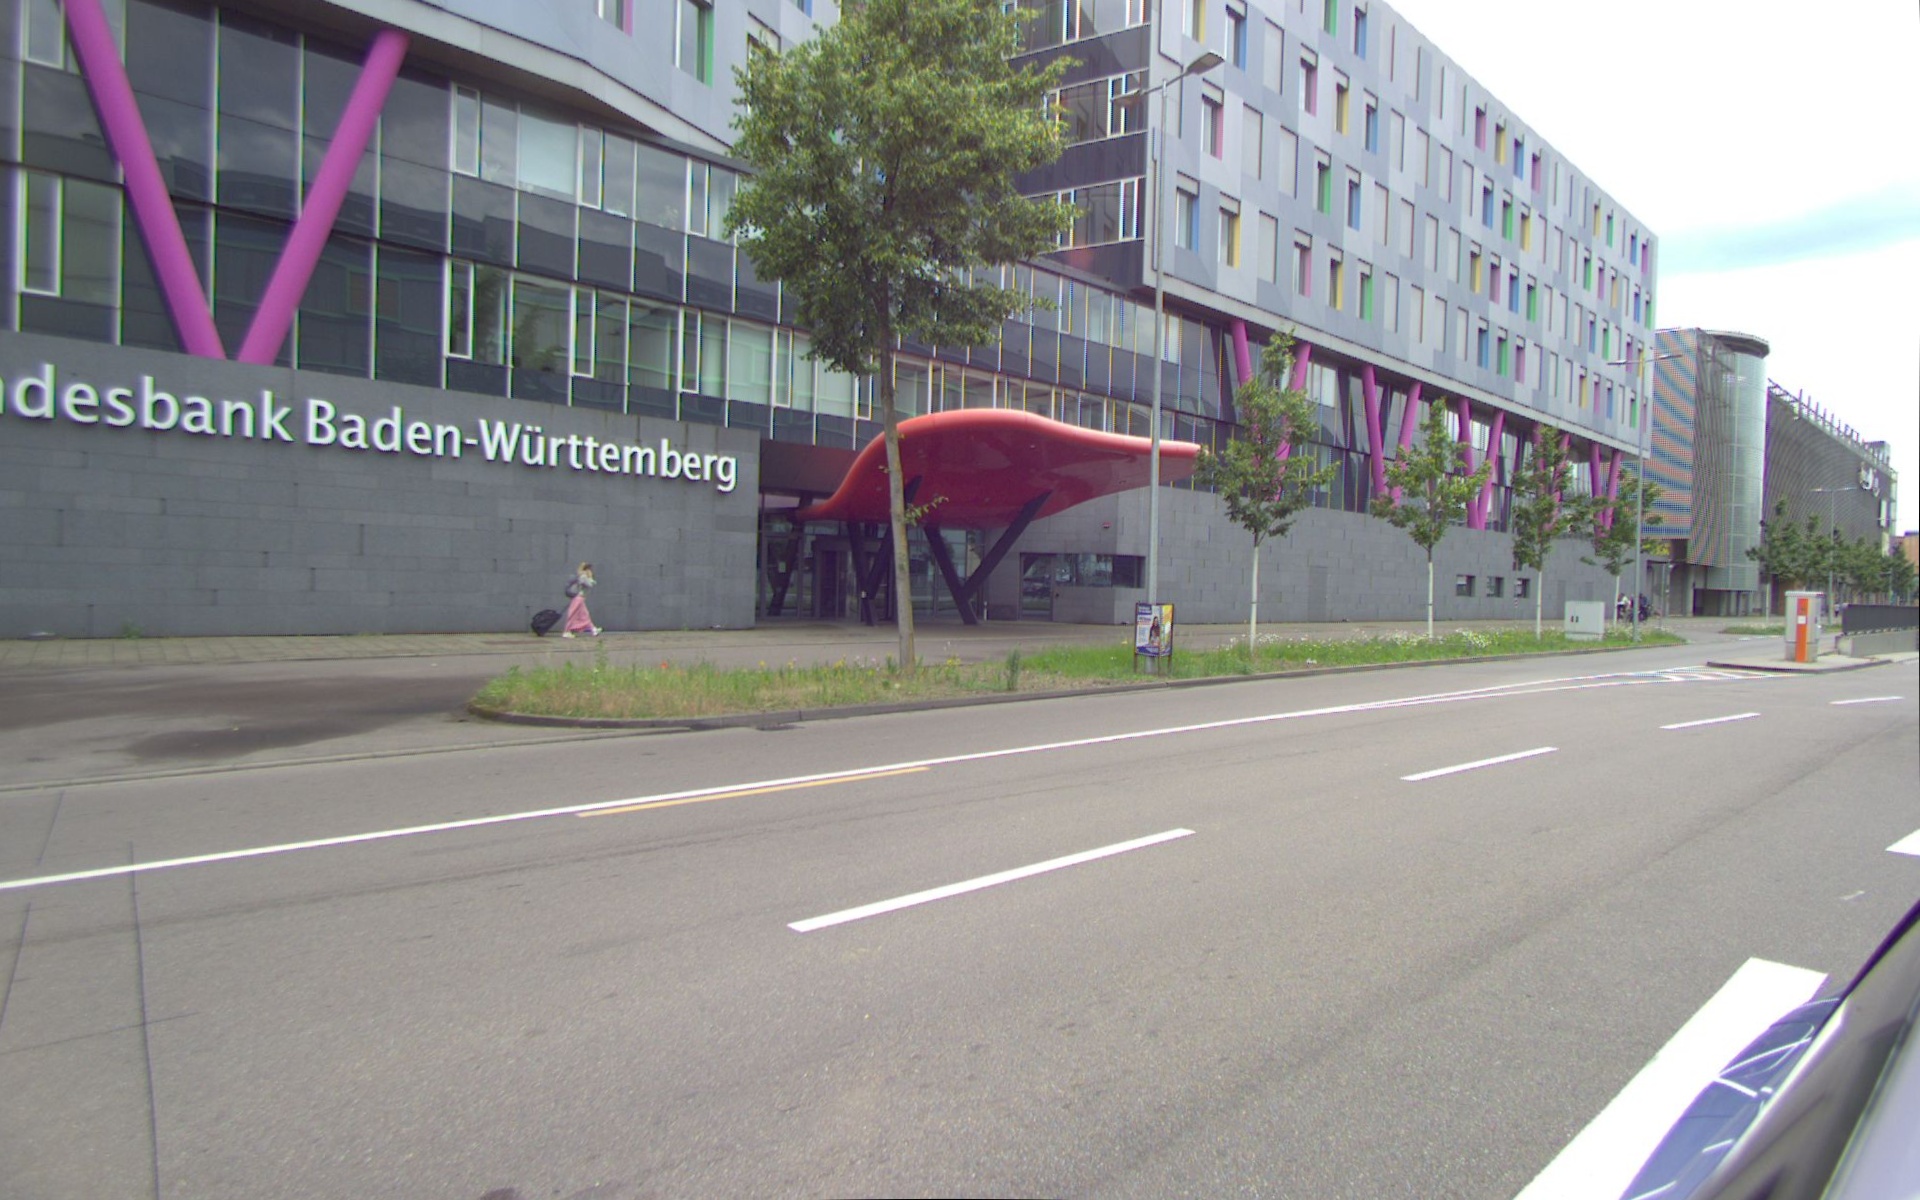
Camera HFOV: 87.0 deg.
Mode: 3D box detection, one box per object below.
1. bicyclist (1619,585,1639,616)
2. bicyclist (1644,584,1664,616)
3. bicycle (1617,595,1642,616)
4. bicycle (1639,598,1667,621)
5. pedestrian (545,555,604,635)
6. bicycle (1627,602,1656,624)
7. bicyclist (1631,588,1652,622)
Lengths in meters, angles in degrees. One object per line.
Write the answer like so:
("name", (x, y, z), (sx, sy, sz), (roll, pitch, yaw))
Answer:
("bicyclist", (40.639, 0.032, 61.463), (0.957, 1.809, 0.771), (1, 1, -43))
("bicyclist", (40.756, -0.001, 59.445), (0.692, 1.826, 0.783), (6, -4, -41))
("bicycle", (40.788, 0.340, 61.614), (2.183, 1.209, 0.784), (1, 1, -44))
("bicycle", (40.694, 0.545, 59.388), (2.303, 1.173, 0.800), (6, -3, -42))
("pedestrian", (-7.983, -0.106, 20.963), (0.898, 1.602, 0.786), (1, 1, -40))
("bicycle", (37.546, 0.740, 55.730), (2.304, 1.173, 0.800), (2, 0, -42))
("bicyclist", (37.546, 0.285, 55.729), (0.692, 1.825, 0.783), (2, -1, -41))
